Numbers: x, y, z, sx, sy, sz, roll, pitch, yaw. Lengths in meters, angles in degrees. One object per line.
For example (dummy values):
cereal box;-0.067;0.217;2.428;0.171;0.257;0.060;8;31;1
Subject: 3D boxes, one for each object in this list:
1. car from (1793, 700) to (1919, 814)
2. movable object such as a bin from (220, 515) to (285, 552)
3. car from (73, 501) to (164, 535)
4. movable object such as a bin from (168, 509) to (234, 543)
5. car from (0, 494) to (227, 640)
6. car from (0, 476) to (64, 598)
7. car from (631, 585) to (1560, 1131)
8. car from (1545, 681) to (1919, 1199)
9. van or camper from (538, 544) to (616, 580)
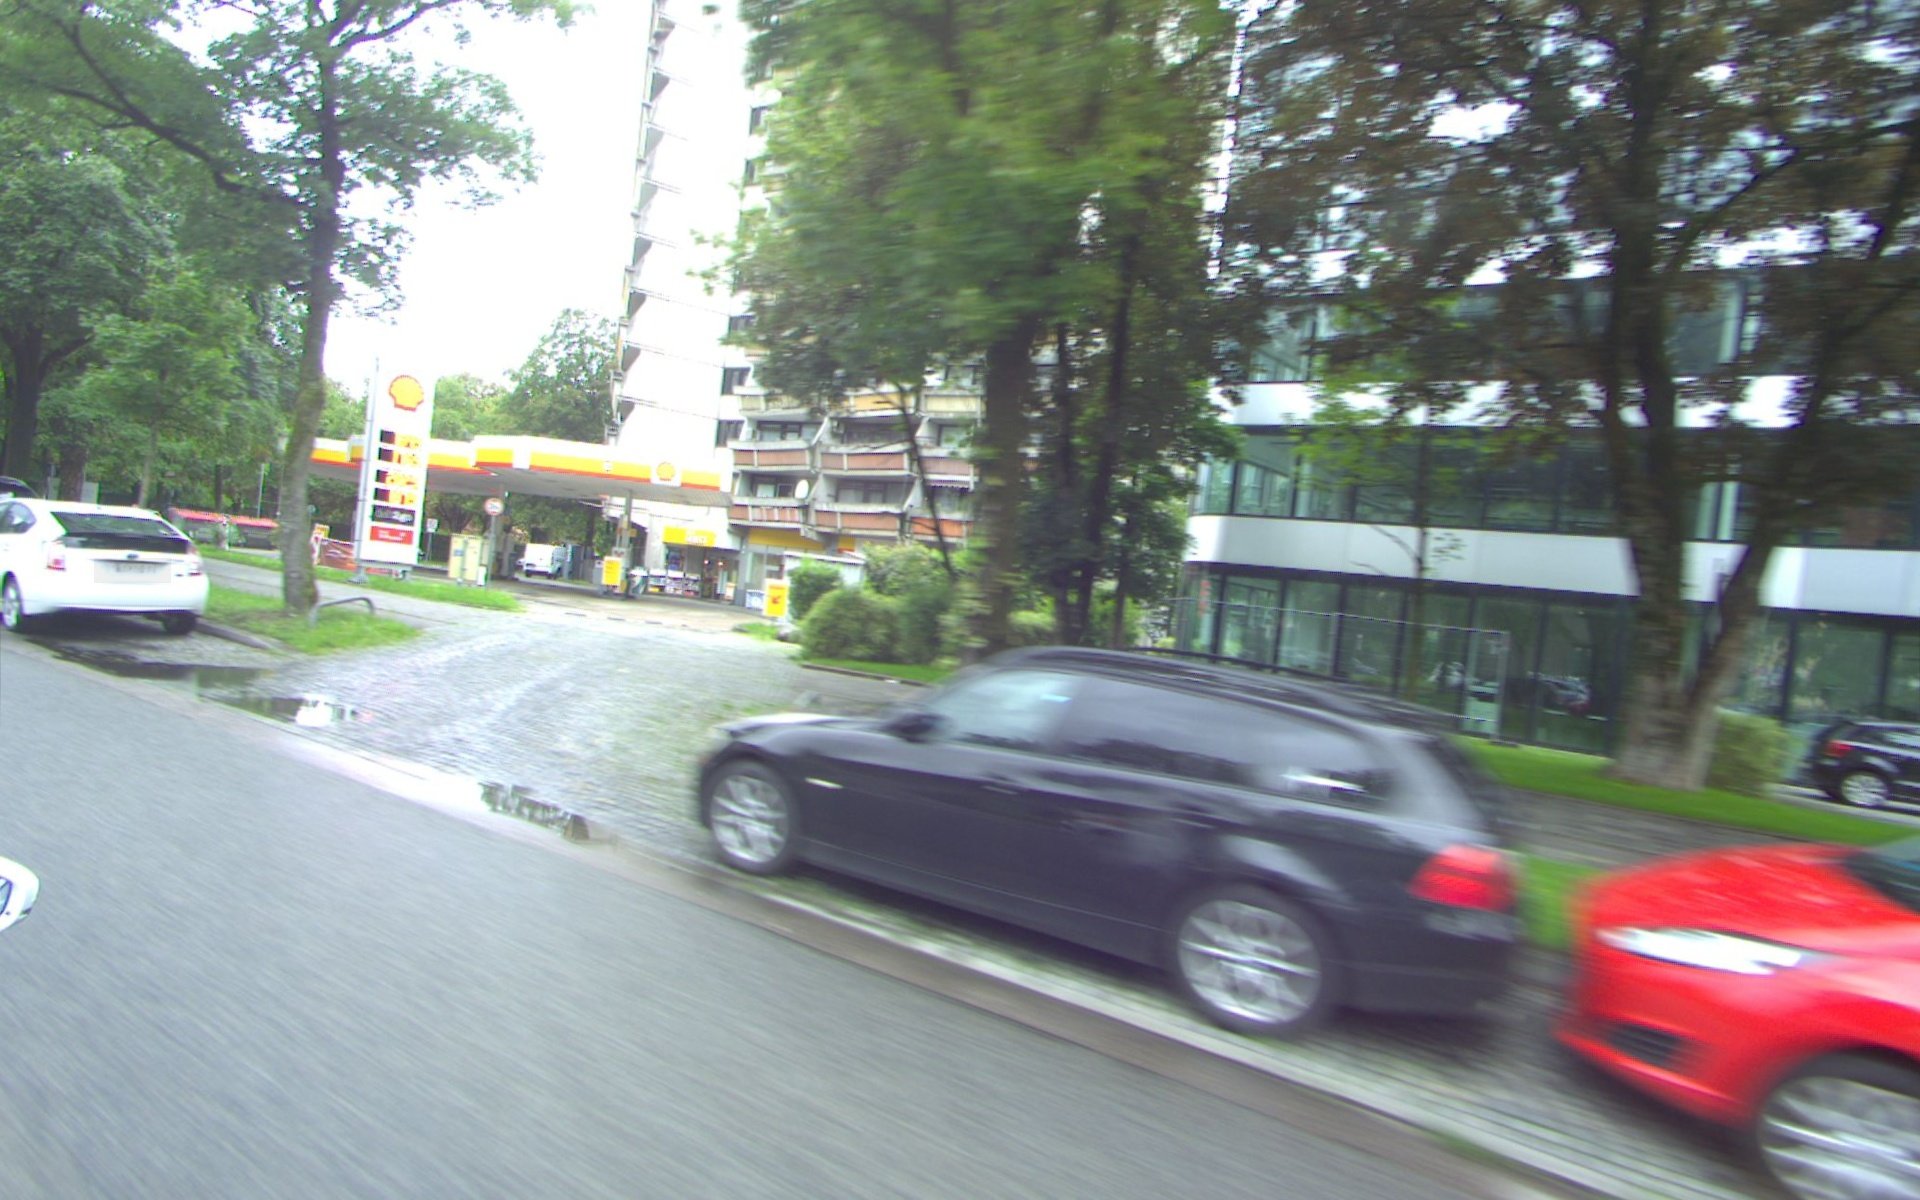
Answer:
car;16.231;2.711;16.142;3.981;1.567;2.021;7;0;31
movable object such as a bin;-35.485;-3.351;50.471;1.807;1.505;2.063;7;0;32
car;-50.058;-4.874;59.901;1.903;1.633;3.871;8;5;38
movable object such as a bin;-36.633;-3.569;48.568;1.506;1.278;2.062;7;0;32
car;-11.353;-0.501;12.712;4.556;1.473;1.761;7;2;32
car;-15.985;-1.169;15.546;5.143;1.721;1.761;7;2;32
car;0.486;0.904;5.350;4.506;1.473;1.676;7;2;32
car;4.194;1.317;3.111;3.954;1.521;1.676;7;2;32
van or camper;-29.893;-2.934;78.624;2.522;2.395;5.076;8;5;38
